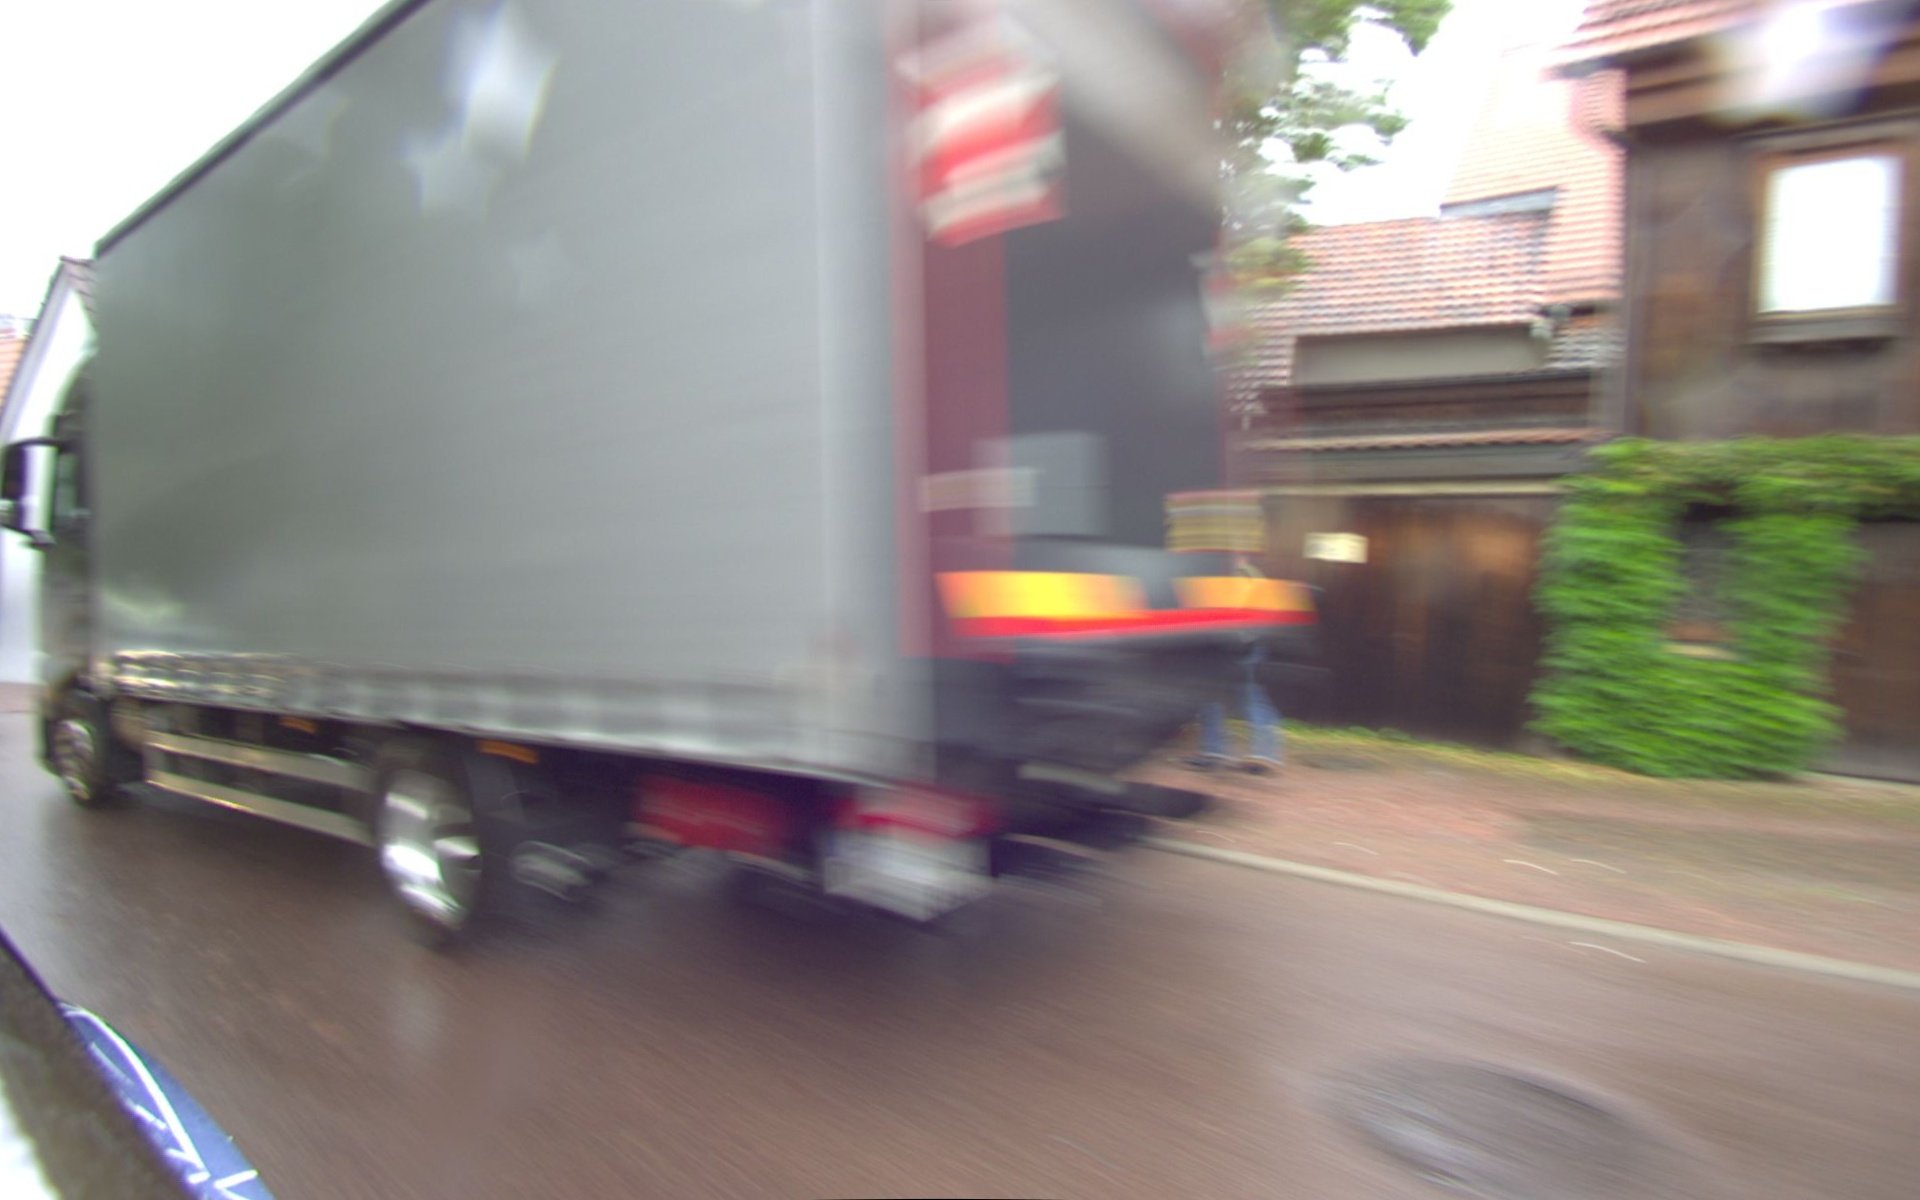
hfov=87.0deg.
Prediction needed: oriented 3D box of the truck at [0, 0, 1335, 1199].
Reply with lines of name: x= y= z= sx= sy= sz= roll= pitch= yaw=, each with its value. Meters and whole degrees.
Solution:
truck: x=-3.324 y=-0.584 z=6.572 sx=10.414 sy=3.998 sz=2.821 roll=-1 pitch=0 yaw=38
